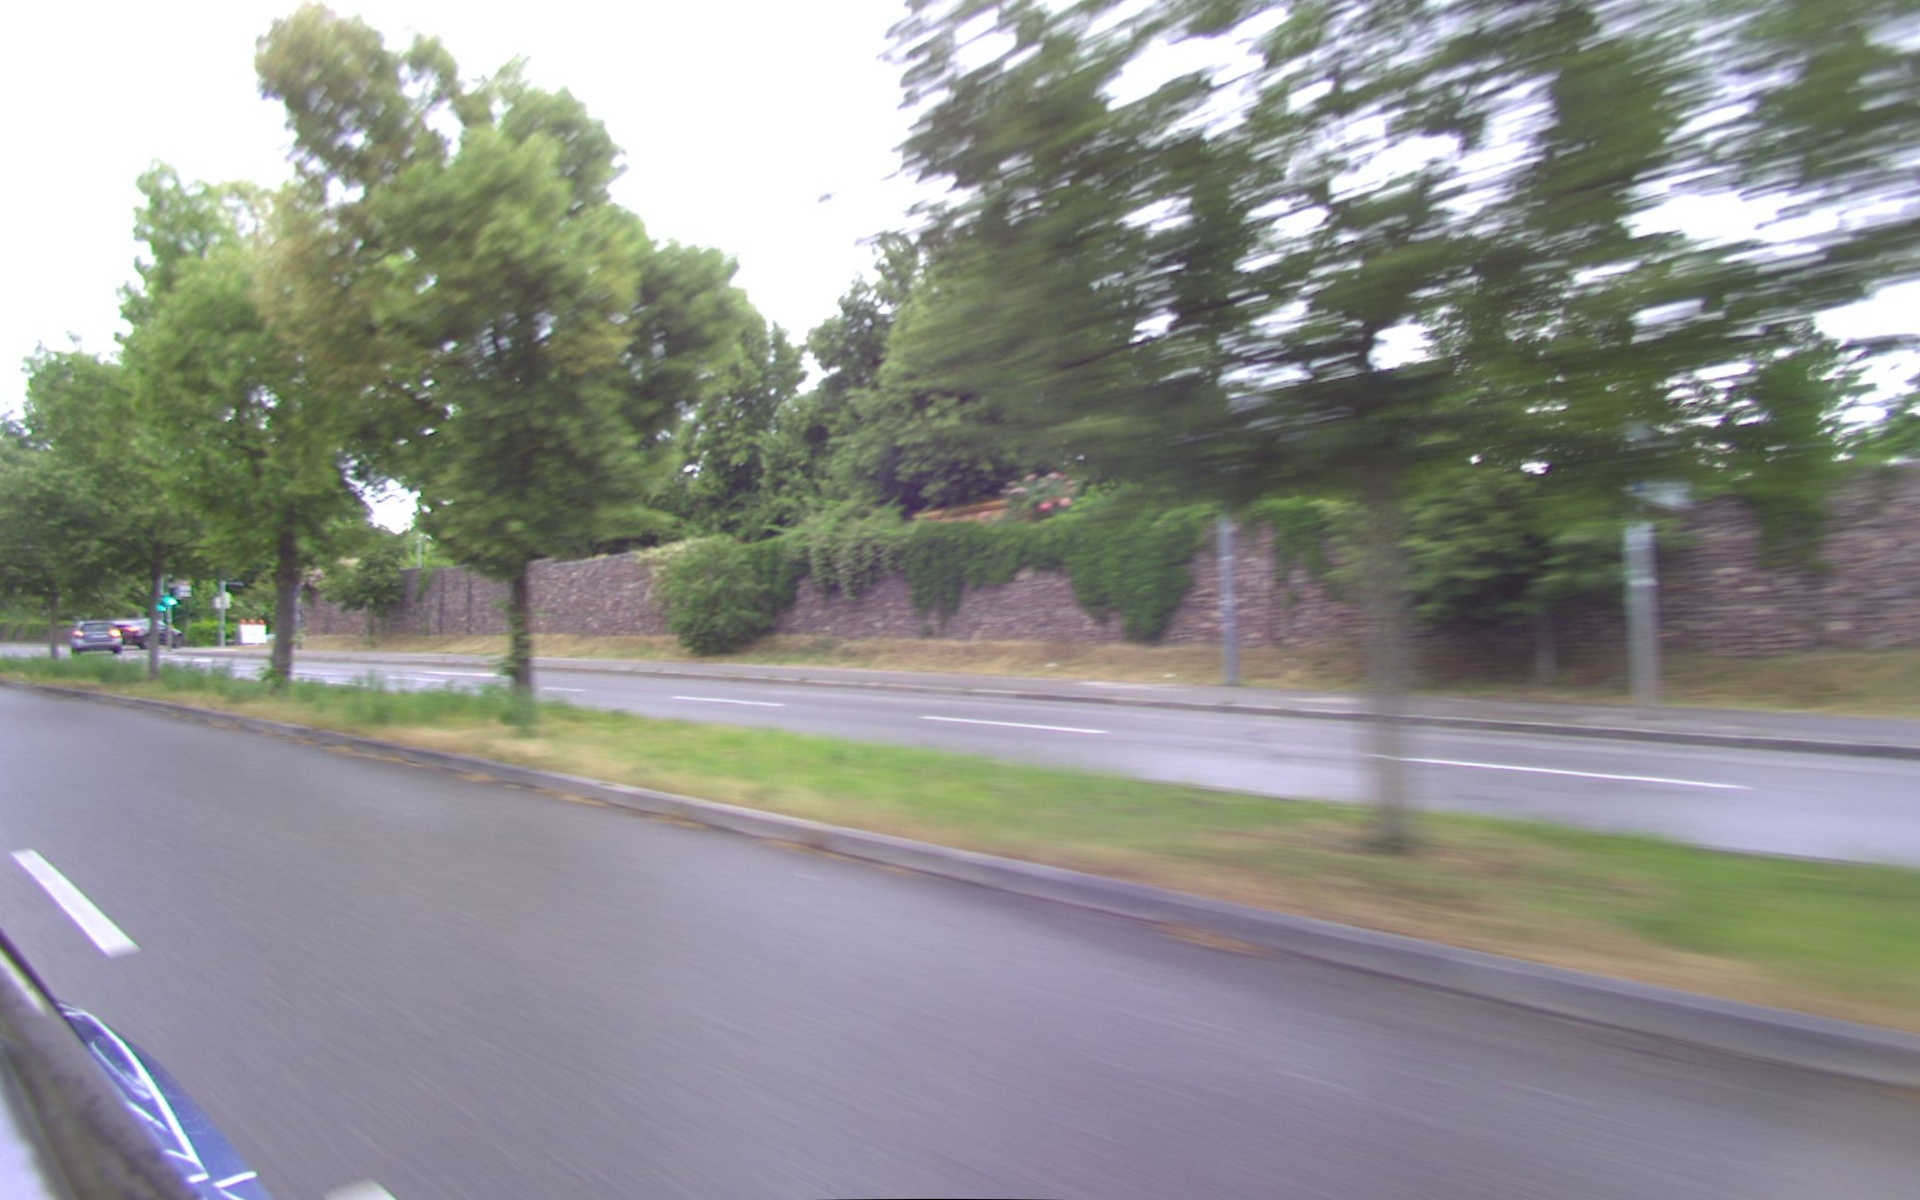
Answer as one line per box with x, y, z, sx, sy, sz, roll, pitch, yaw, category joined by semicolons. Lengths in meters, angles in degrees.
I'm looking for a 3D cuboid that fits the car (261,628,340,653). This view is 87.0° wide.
-42.107;2.588;64.667;1.691;1.484;3.945;-4;-5;40;car

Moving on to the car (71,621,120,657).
-39.266;1.791;46.010;1.665;1.551;2.921;0;-2;-40;car

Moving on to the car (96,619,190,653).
-42.764;1.824;53.117;1.856;1.607;4.778;-1;0;-12;car
